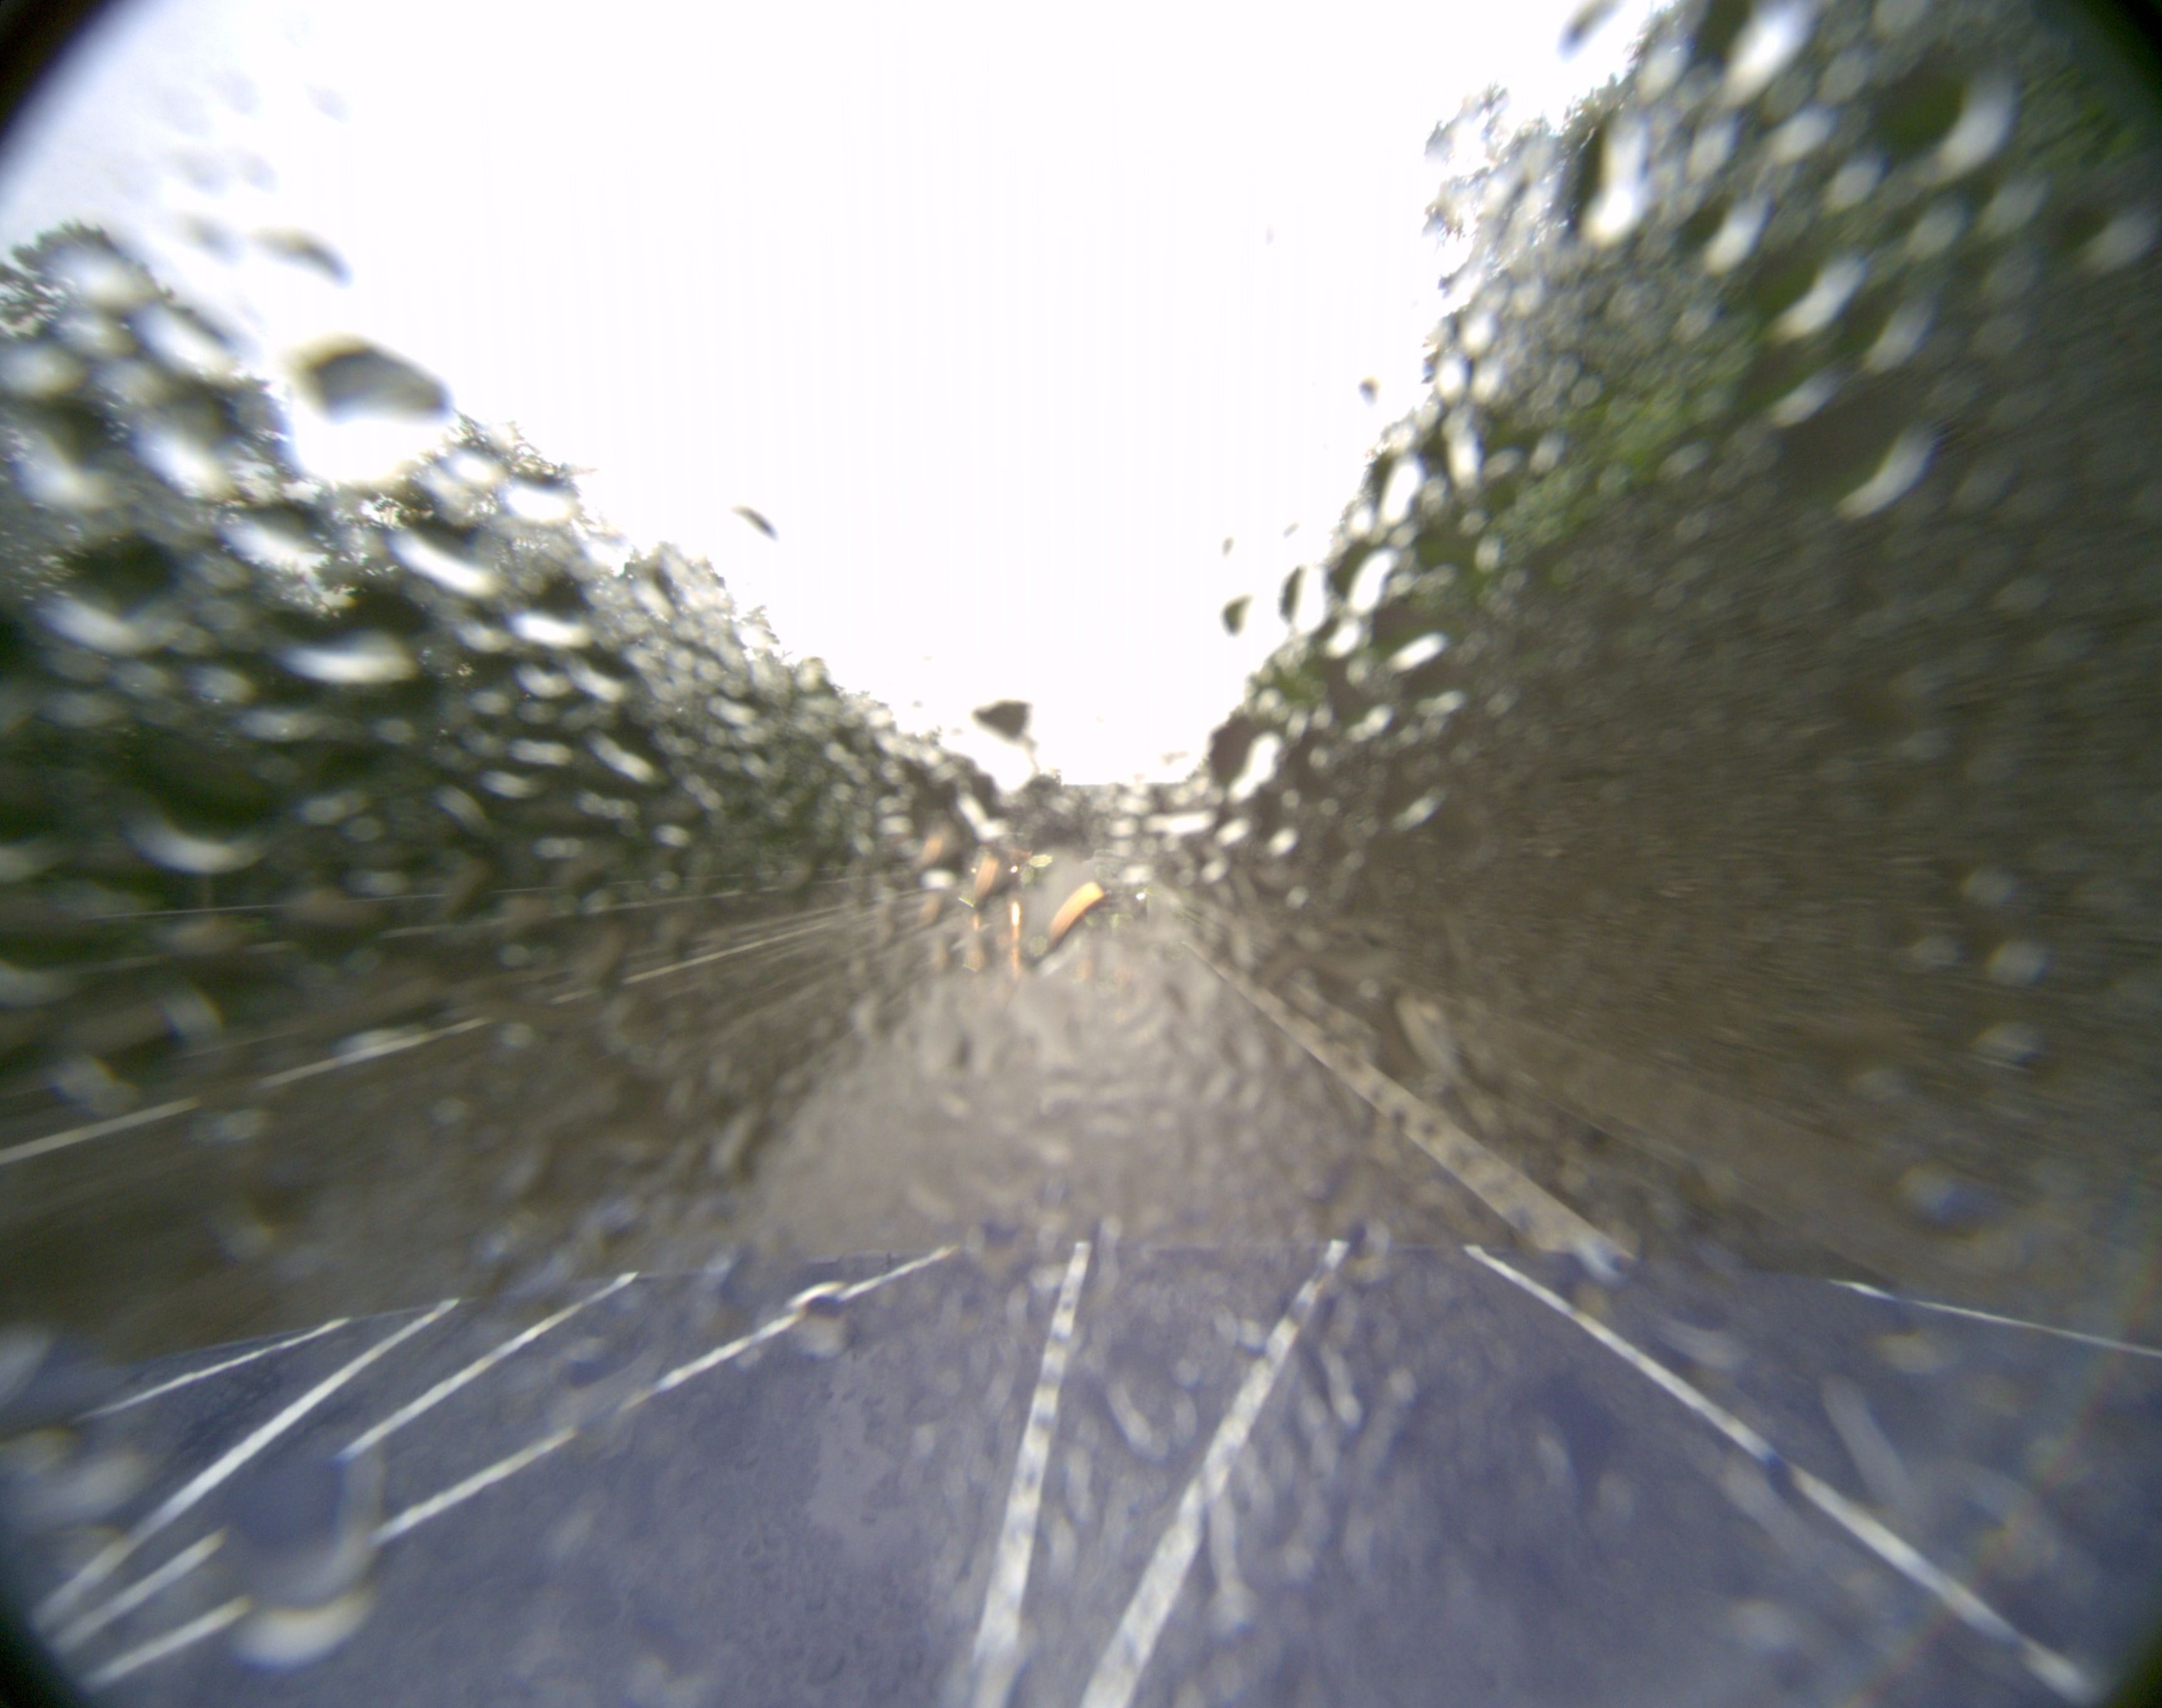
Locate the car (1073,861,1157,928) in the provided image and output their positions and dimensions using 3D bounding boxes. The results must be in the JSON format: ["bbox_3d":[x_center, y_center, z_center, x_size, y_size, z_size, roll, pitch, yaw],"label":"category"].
[{"bbox_3d":[0.836,0.928,18.842,1.827,1.375,4.000,-1,0,2],"label":"car"}]

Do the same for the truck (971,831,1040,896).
[{"bbox_3d":[-3.212,0.348,34.120,2.108,2.481,8.002,-2,0,1],"label":"truck"}]

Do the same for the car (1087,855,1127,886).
[{"bbox_3d":[1.245,0.774,37.566,1.827,1.375,4.000,-2,0,1],"label":"car"}]

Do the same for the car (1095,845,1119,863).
[{"bbox_3d":[2.091,-0.030,60.789,1.827,1.375,4.000,-2,0,2],"label":"car"}]
